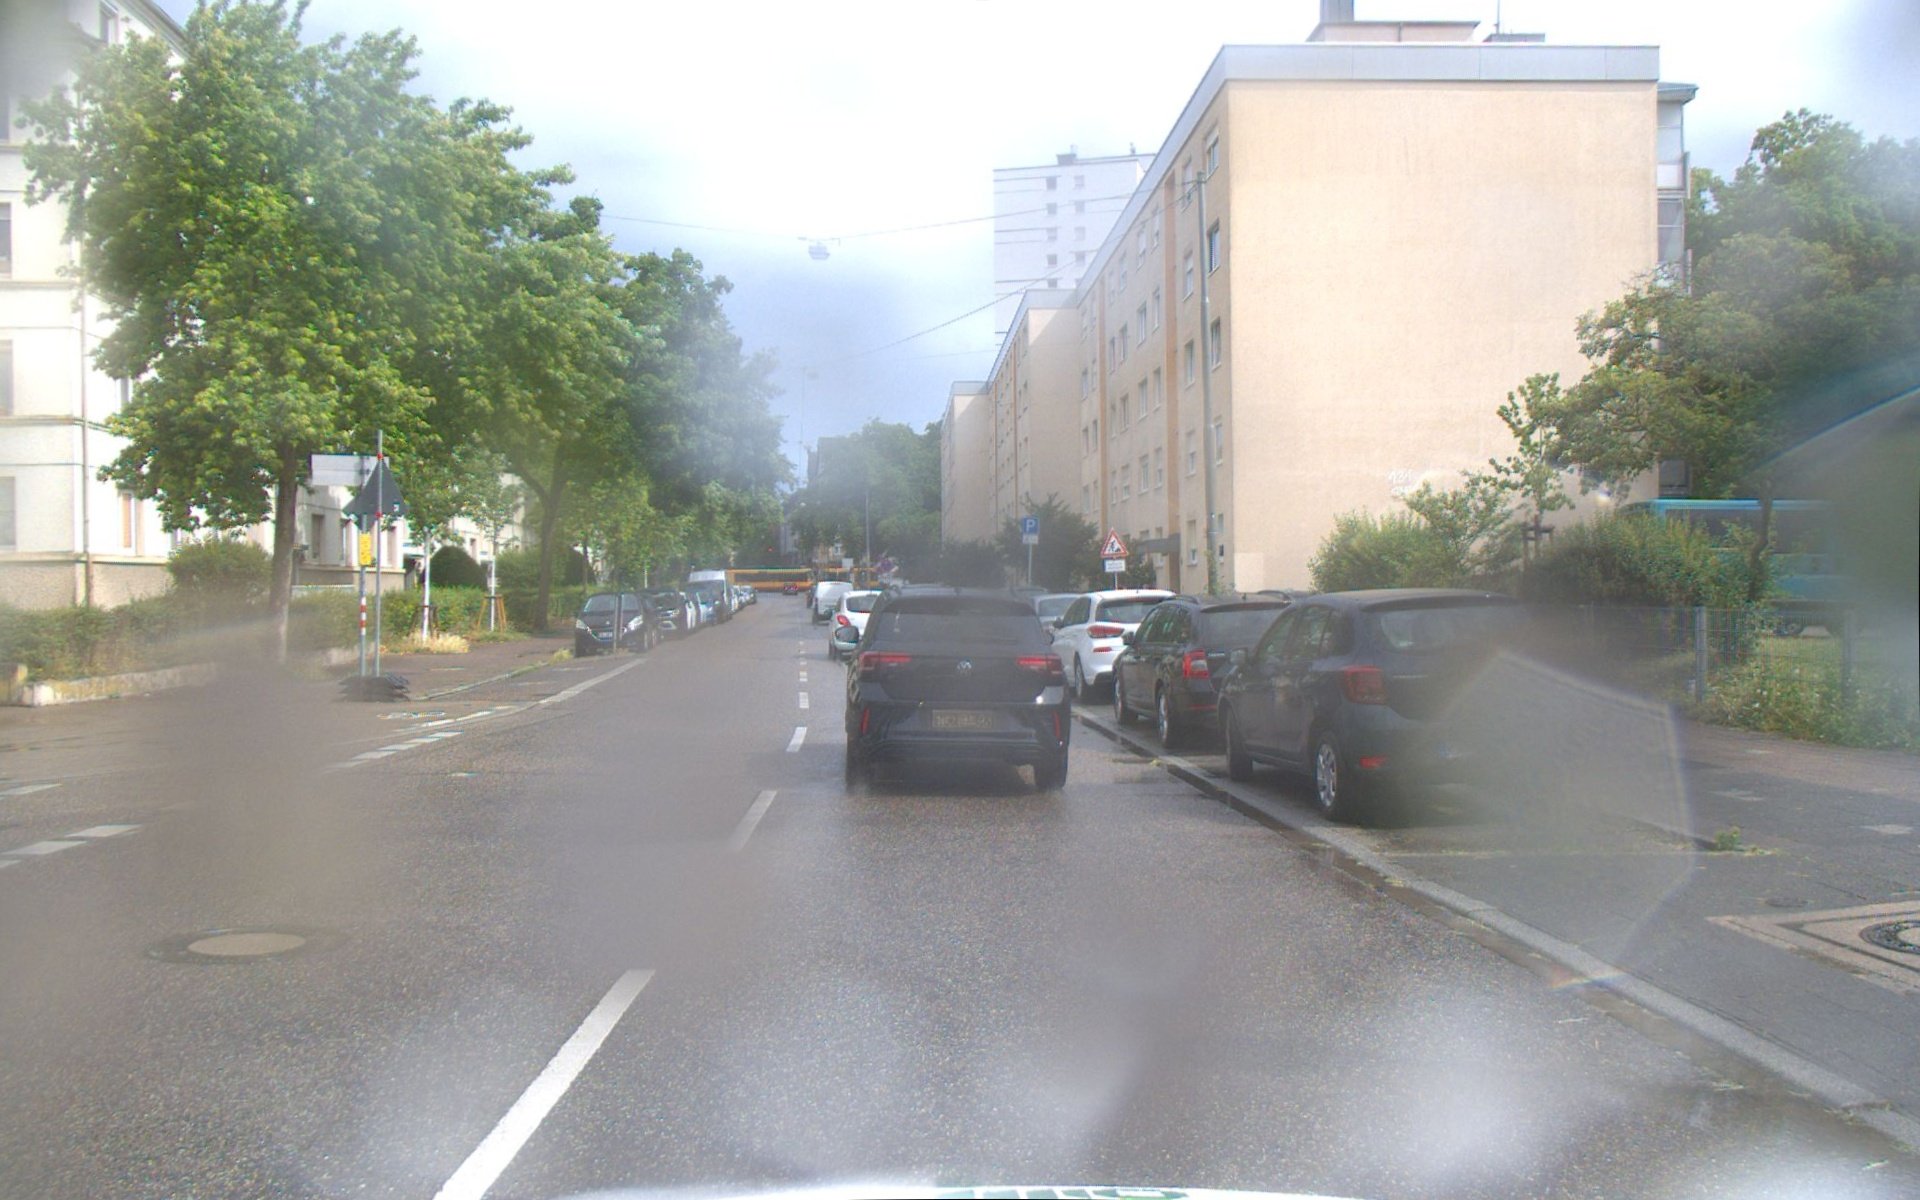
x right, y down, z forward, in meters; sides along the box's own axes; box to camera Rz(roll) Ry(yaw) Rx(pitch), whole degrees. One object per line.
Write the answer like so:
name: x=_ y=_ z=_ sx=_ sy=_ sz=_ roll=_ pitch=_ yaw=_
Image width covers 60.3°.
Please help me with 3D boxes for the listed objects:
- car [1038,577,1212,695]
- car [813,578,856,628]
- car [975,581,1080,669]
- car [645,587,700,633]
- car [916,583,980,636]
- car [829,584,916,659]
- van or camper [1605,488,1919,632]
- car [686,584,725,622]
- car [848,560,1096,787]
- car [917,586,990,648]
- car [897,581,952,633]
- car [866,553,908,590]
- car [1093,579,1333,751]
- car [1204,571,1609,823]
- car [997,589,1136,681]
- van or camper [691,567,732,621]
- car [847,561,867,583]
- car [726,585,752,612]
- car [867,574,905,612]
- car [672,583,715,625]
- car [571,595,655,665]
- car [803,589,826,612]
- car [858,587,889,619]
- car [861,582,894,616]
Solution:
car: x=2.275 y=0.506 z=23.844 sx=1.715 sy=1.534 sz=4.106 roll=-1 pitch=-1 yaw=-6
car: x=-5.580 y=0.136 z=73.880 sx=1.800 sy=2.139 sz=3.997 roll=1 pitch=-1 yaw=-3
car: x=1.346 y=0.475 z=34.374 sx=1.574 sy=1.690 sz=4.027 roll=1 pitch=1 yaw=-7
car: x=-9.718 y=0.314 z=56.046 sx=1.556 sy=1.442 sz=3.915 roll=-2 pitch=1 yaw=-7
car: x=-0.415 y=0.268 z=51.348 sx=1.573 sy=1.532 sz=4.027 roll=-2 pitch=1 yaw=-6
car: x=-1.890 y=0.472 z=36.551 sx=1.777 sy=1.529 sz=3.998 roll=1 pitch=-1 yaw=-2
van or camper: x=13.179 y=-0.639 z=26.654 sx=4.661 sy=2.168 sz=2.322 roll=-1 pitch=1 yaw=1
car: x=-11.684 y=0.113 z=76.098 sx=1.556 sy=1.668 sz=3.915 roll=-2 pitch=1 yaw=-7
car: x=0.019 y=0.562 z=14.440 sx=1.835 sy=1.674 sz=4.060 roll=1 pitch=0 yaw=-2
car: x=-0.217 y=0.430 z=45.385 sx=1.662 sy=1.565 sz=4.028 roll=-2 pitch=1 yaw=-5
car: x=-1.295 y=0.218 z=58.614 sx=1.573 sy=1.701 sz=4.027 roll=-2 pitch=1 yaw=-6
car: x=-3.405 y=-1.315 z=77.965 sx=1.803 sy=1.636 sz=3.675 roll=-2 pitch=0 yaw=-1
car: x=2.555 y=0.614 z=17.640 sx=1.573 sy=1.534 sz=4.156 roll=-3 pitch=0 yaw=-4
car: x=3.166 y=0.621 z=12.591 sx=1.722 sy=1.554 sz=3.997 roll=-2 pitch=0 yaw=-4
car: x=1.785 y=0.566 z=28.974 sx=1.683 sy=1.478 sz=4.253 roll=1 pitch=0 yaw=-7
van or camper: x=-12.497 y=-0.316 z=83.267 sx=1.768 sy=2.537 sz=5.013 roll=-2 pitch=1 yaw=-7
car: x=-8.903 y=-2.418 z=142.660 sx=1.633 sy=1.870 sz=3.997 roll=-2 pitch=1 yaw=-4
car: x=-14.716 y=-0.119 z=110.099 sx=1.556 sy=1.668 sz=3.915 roll=-2 pitch=1 yaw=-7
car: x=-3.698 y=-0.345 z=82.172 sx=1.573 sy=1.796 sz=4.027 roll=-2 pitch=1 yaw=-6
car: x=-11.296 y=0.139 z=70.321 sx=1.556 sy=1.668 sz=3.915 roll=-2 pitch=1 yaw=-7
car: x=-8.402 y=0.688 z=40.293 sx=1.556 sy=1.532 sz=4.059 roll=-2 pitch=1 yaw=-7
car: x=-10.532 y=0.029 z=119.578 sx=1.573 sy=1.536 sz=3.543 roll=-2 pitch=1 yaw=-6
car: x=-5.164 y=0.155 z=97.984 sx=1.573 sy=1.796 sz=4.027 roll=-2 pitch=1 yaw=-6
car: x=-4.600 y=-0.060 z=91.656 sx=1.573 sy=1.796 sz=4.027 roll=-2 pitch=1 yaw=-6
